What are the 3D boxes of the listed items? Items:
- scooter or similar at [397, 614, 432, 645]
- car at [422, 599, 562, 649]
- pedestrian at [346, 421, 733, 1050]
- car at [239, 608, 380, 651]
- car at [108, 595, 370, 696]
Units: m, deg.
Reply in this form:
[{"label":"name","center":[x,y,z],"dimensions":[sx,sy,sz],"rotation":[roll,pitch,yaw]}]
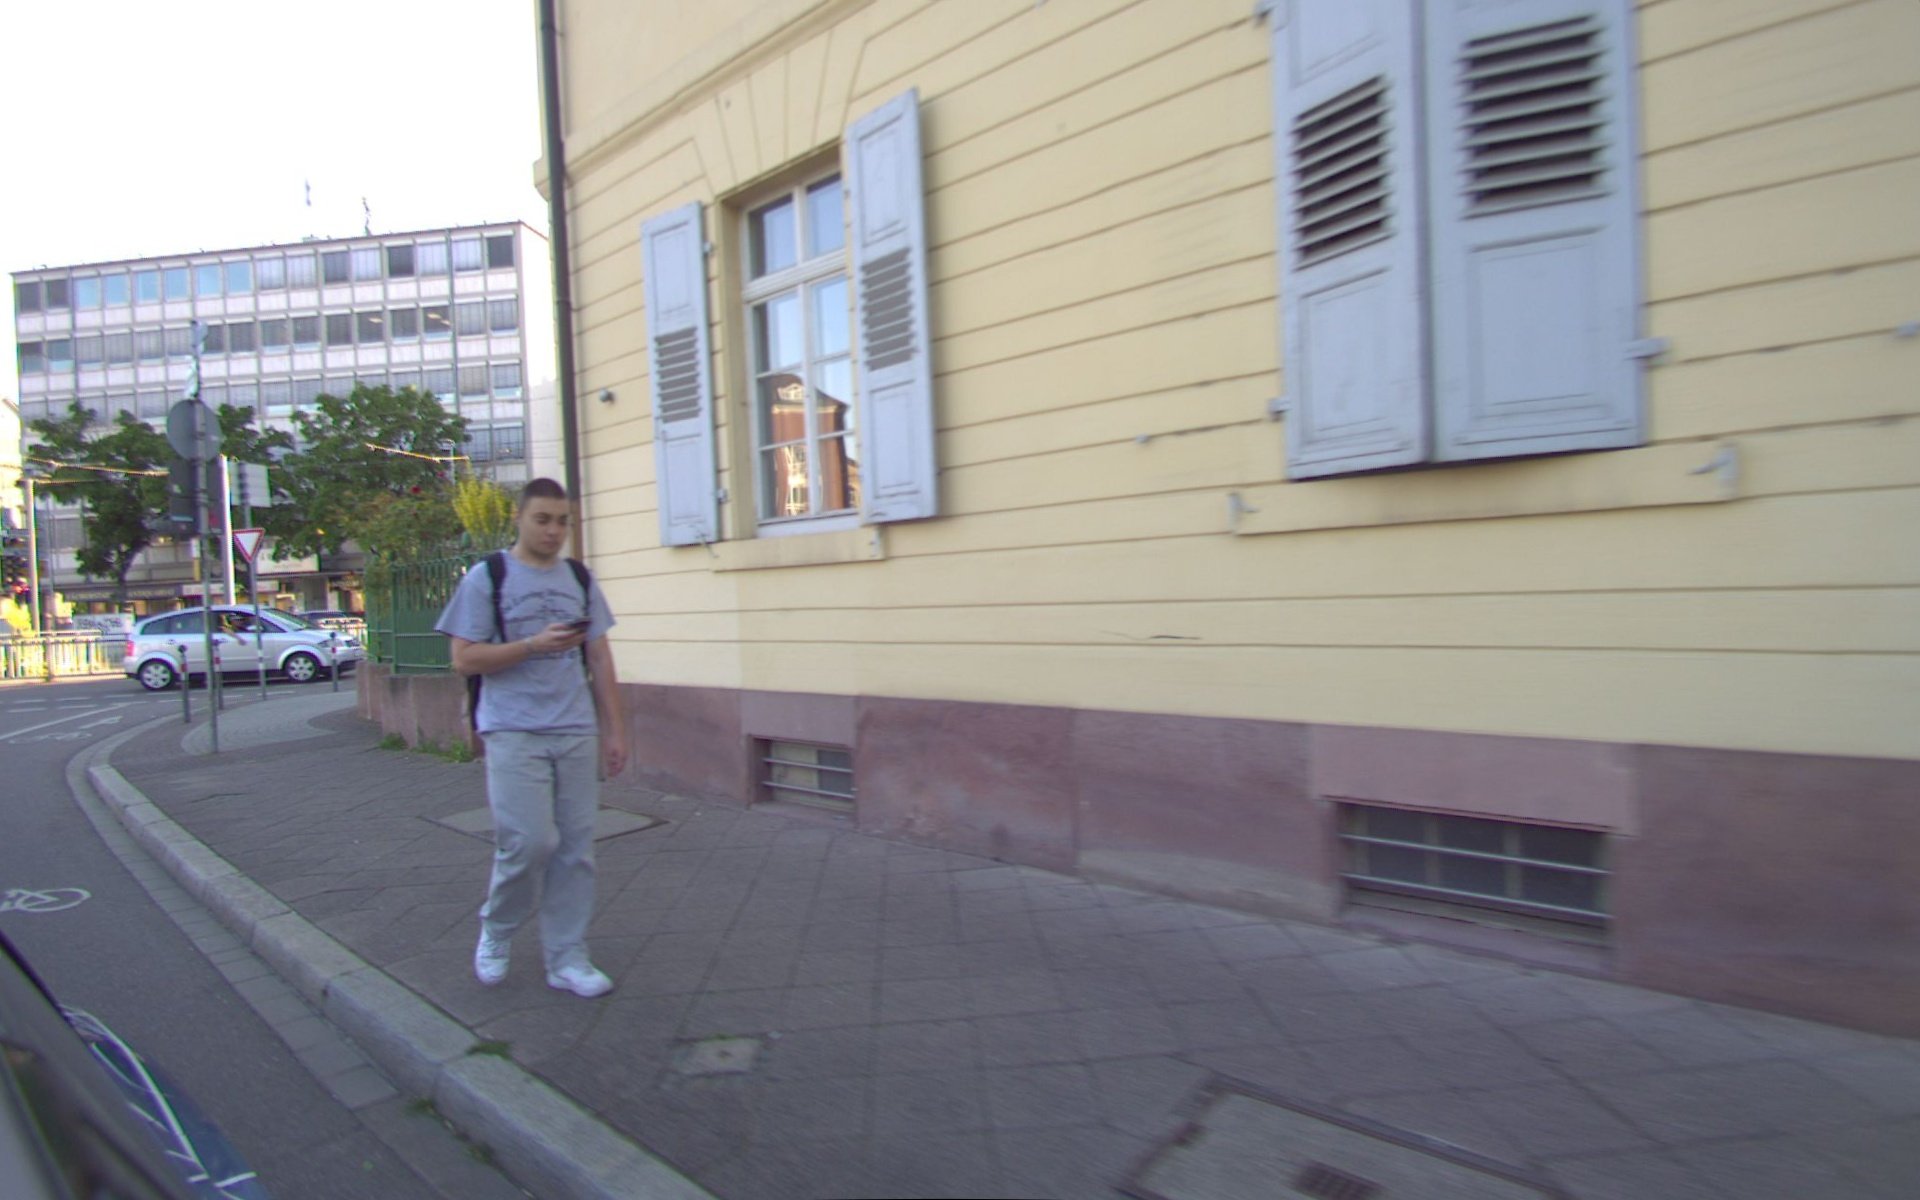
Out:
[{"label":"scooter or similar","center":[-24.703,1.326,45.862],"dimensions":[0.514,1.332,1.265],"rotation":[-2,0,37]},{"label":"car","center":[-17.476,0.878,37.917],"dimensions":[4.232,1.571,2.199],"rotation":[-3,1,9]},{"label":"pedestrian","center":[-1.403,0.365,3.390],"dimensions":[0.830,1.737,0.866],"rotation":[-2,1,45]},{"label":"car","center":[-25.484,1.141,39.737],"dimensions":[4.304,1.446,1.739],"rotation":[-2,1,-6]},{"label":"car","center":[-13.647,0.818,19.398],"dimensions":[3.664,1.572,1.686],"rotation":[-3,2,-15]}]
